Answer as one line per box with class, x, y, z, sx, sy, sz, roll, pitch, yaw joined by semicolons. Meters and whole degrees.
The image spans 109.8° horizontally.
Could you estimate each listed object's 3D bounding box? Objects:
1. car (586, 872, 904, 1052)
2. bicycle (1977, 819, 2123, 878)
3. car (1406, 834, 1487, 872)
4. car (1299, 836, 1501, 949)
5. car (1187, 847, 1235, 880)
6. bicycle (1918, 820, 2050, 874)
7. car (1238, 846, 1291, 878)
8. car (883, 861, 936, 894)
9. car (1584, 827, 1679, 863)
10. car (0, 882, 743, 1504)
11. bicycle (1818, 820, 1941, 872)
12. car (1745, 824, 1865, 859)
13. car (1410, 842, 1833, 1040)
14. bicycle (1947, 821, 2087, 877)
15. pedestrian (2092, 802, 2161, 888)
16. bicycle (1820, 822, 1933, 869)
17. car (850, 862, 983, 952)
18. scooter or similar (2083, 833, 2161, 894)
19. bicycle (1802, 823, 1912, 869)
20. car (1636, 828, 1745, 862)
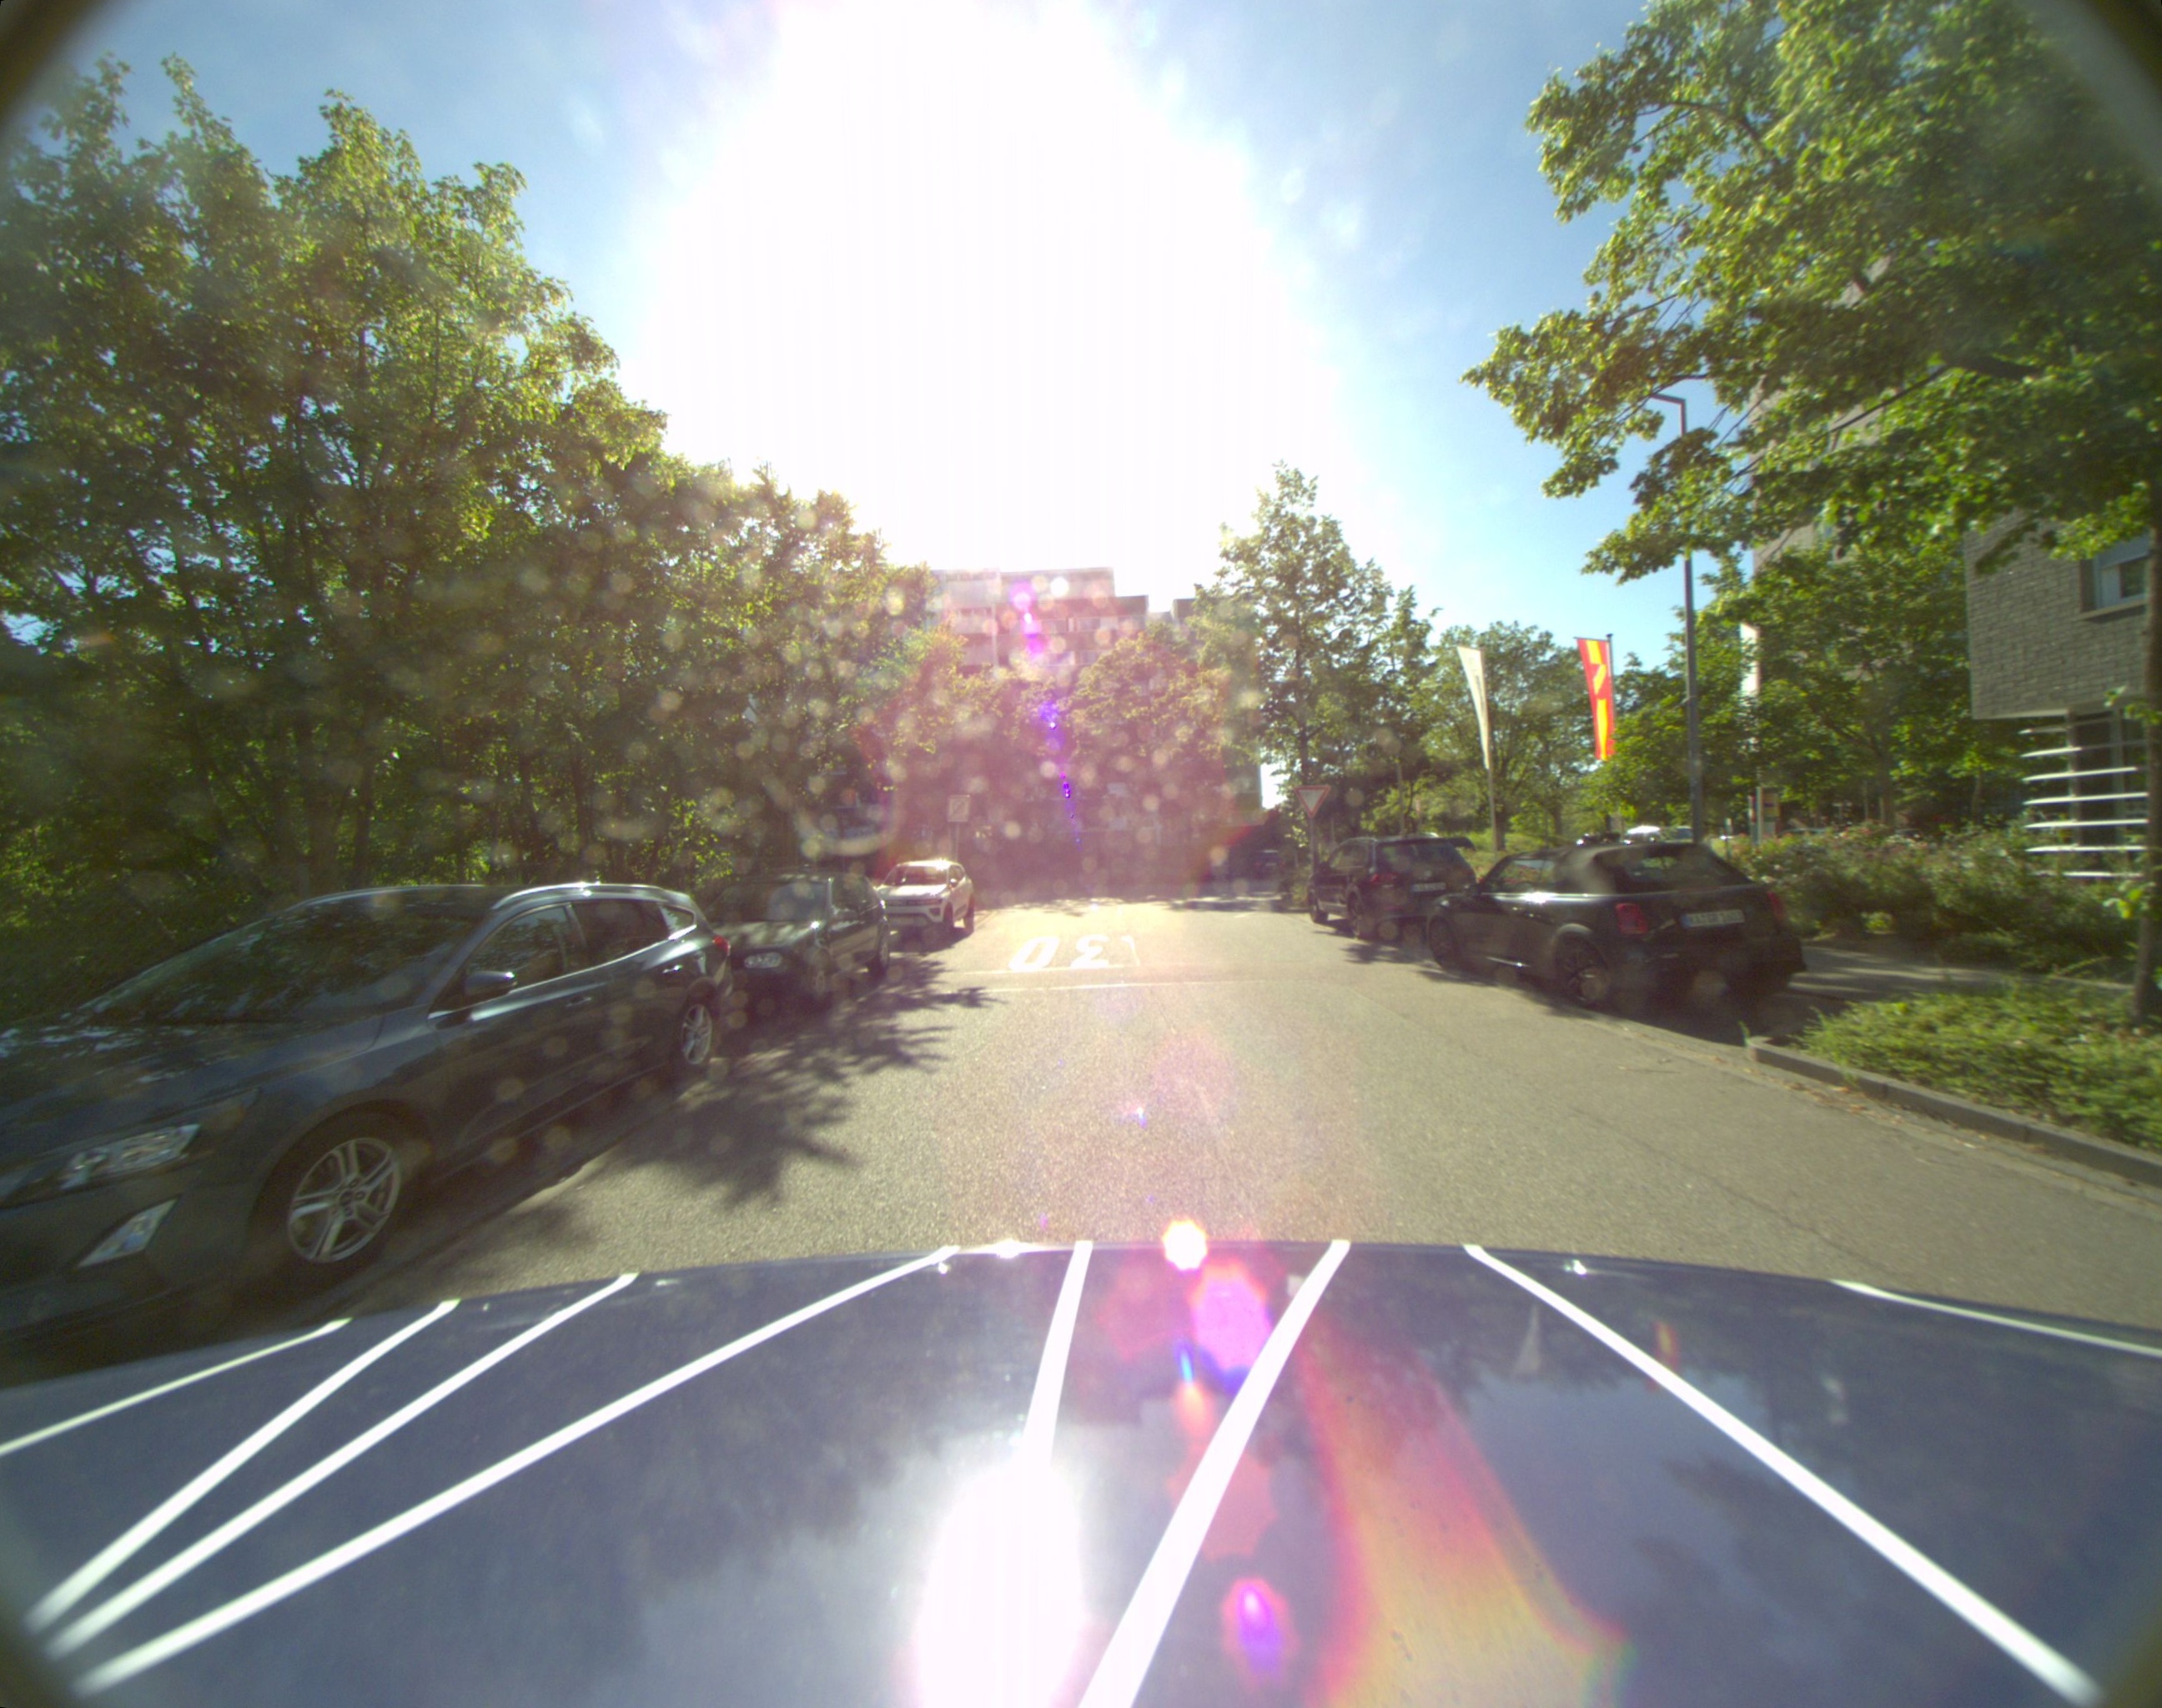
car;-3.595;1.053;9.080;1.829;1.463;4.068;-3;1;2
bicycle;18.999;-0.095;14.918;2.191;1.041;0.438;-3;-1;1
car;18.610;-0.097;38.952;1.998;1.769;4.601;-3;1;2
car;5.378;0.547;13.492;1.891;1.610;4.339;-3;1;3
car;6.676;0.461;39.444;1.700;1.490;3.819;-3;2;-2
bicycle;19.310;-0.150;16.260;2.191;1.041;0.438;-3;-1;1
car;9.453;0.366;39.386;1.821;1.379;3.999;-2;2;2
car;-8.936;1.180;39.928;1.715;1.443;3.999;-2;1;2
car;27.624;-0.447;38.280;1.732;1.609;4.130;-3;1;0
car;-3.671;0.998;4.055;1.680;1.429;4.439;-3;0;0
bicycle;17.727;-0.173;16.890;2.191;1.041;0.438;-3;-1;1
car;36.717;-0.653;38.695;1.835;1.584;4.439;-3;2;-1
car;5.111;0.692;7.912;1.582;1.495;3.789;-2;0;-2
bicycle;19.016;-0.094;15.456;2.191;1.041;0.438;-3;-1;1
pedestrian;17.375;-0.157;12.425;0.744;1.353;0.670;-3;1;2
bicycle;19.317;-0.197;18.458;2.191;1.041;0.438;-3;-1;1
car;-3.266;0.983;15.889;1.623;1.442;4.090;-3;1;3
scooter or similar;17.374;0.154;12.417;0.867;0.948;0.806;-3;-1;1
bicycle;19.324;-0.188;18.942;2.191;1.041;0.438;-3;-1;1
car;30.724;-0.406;38.505;1.816;1.535;4.457;-3;-1;-1
